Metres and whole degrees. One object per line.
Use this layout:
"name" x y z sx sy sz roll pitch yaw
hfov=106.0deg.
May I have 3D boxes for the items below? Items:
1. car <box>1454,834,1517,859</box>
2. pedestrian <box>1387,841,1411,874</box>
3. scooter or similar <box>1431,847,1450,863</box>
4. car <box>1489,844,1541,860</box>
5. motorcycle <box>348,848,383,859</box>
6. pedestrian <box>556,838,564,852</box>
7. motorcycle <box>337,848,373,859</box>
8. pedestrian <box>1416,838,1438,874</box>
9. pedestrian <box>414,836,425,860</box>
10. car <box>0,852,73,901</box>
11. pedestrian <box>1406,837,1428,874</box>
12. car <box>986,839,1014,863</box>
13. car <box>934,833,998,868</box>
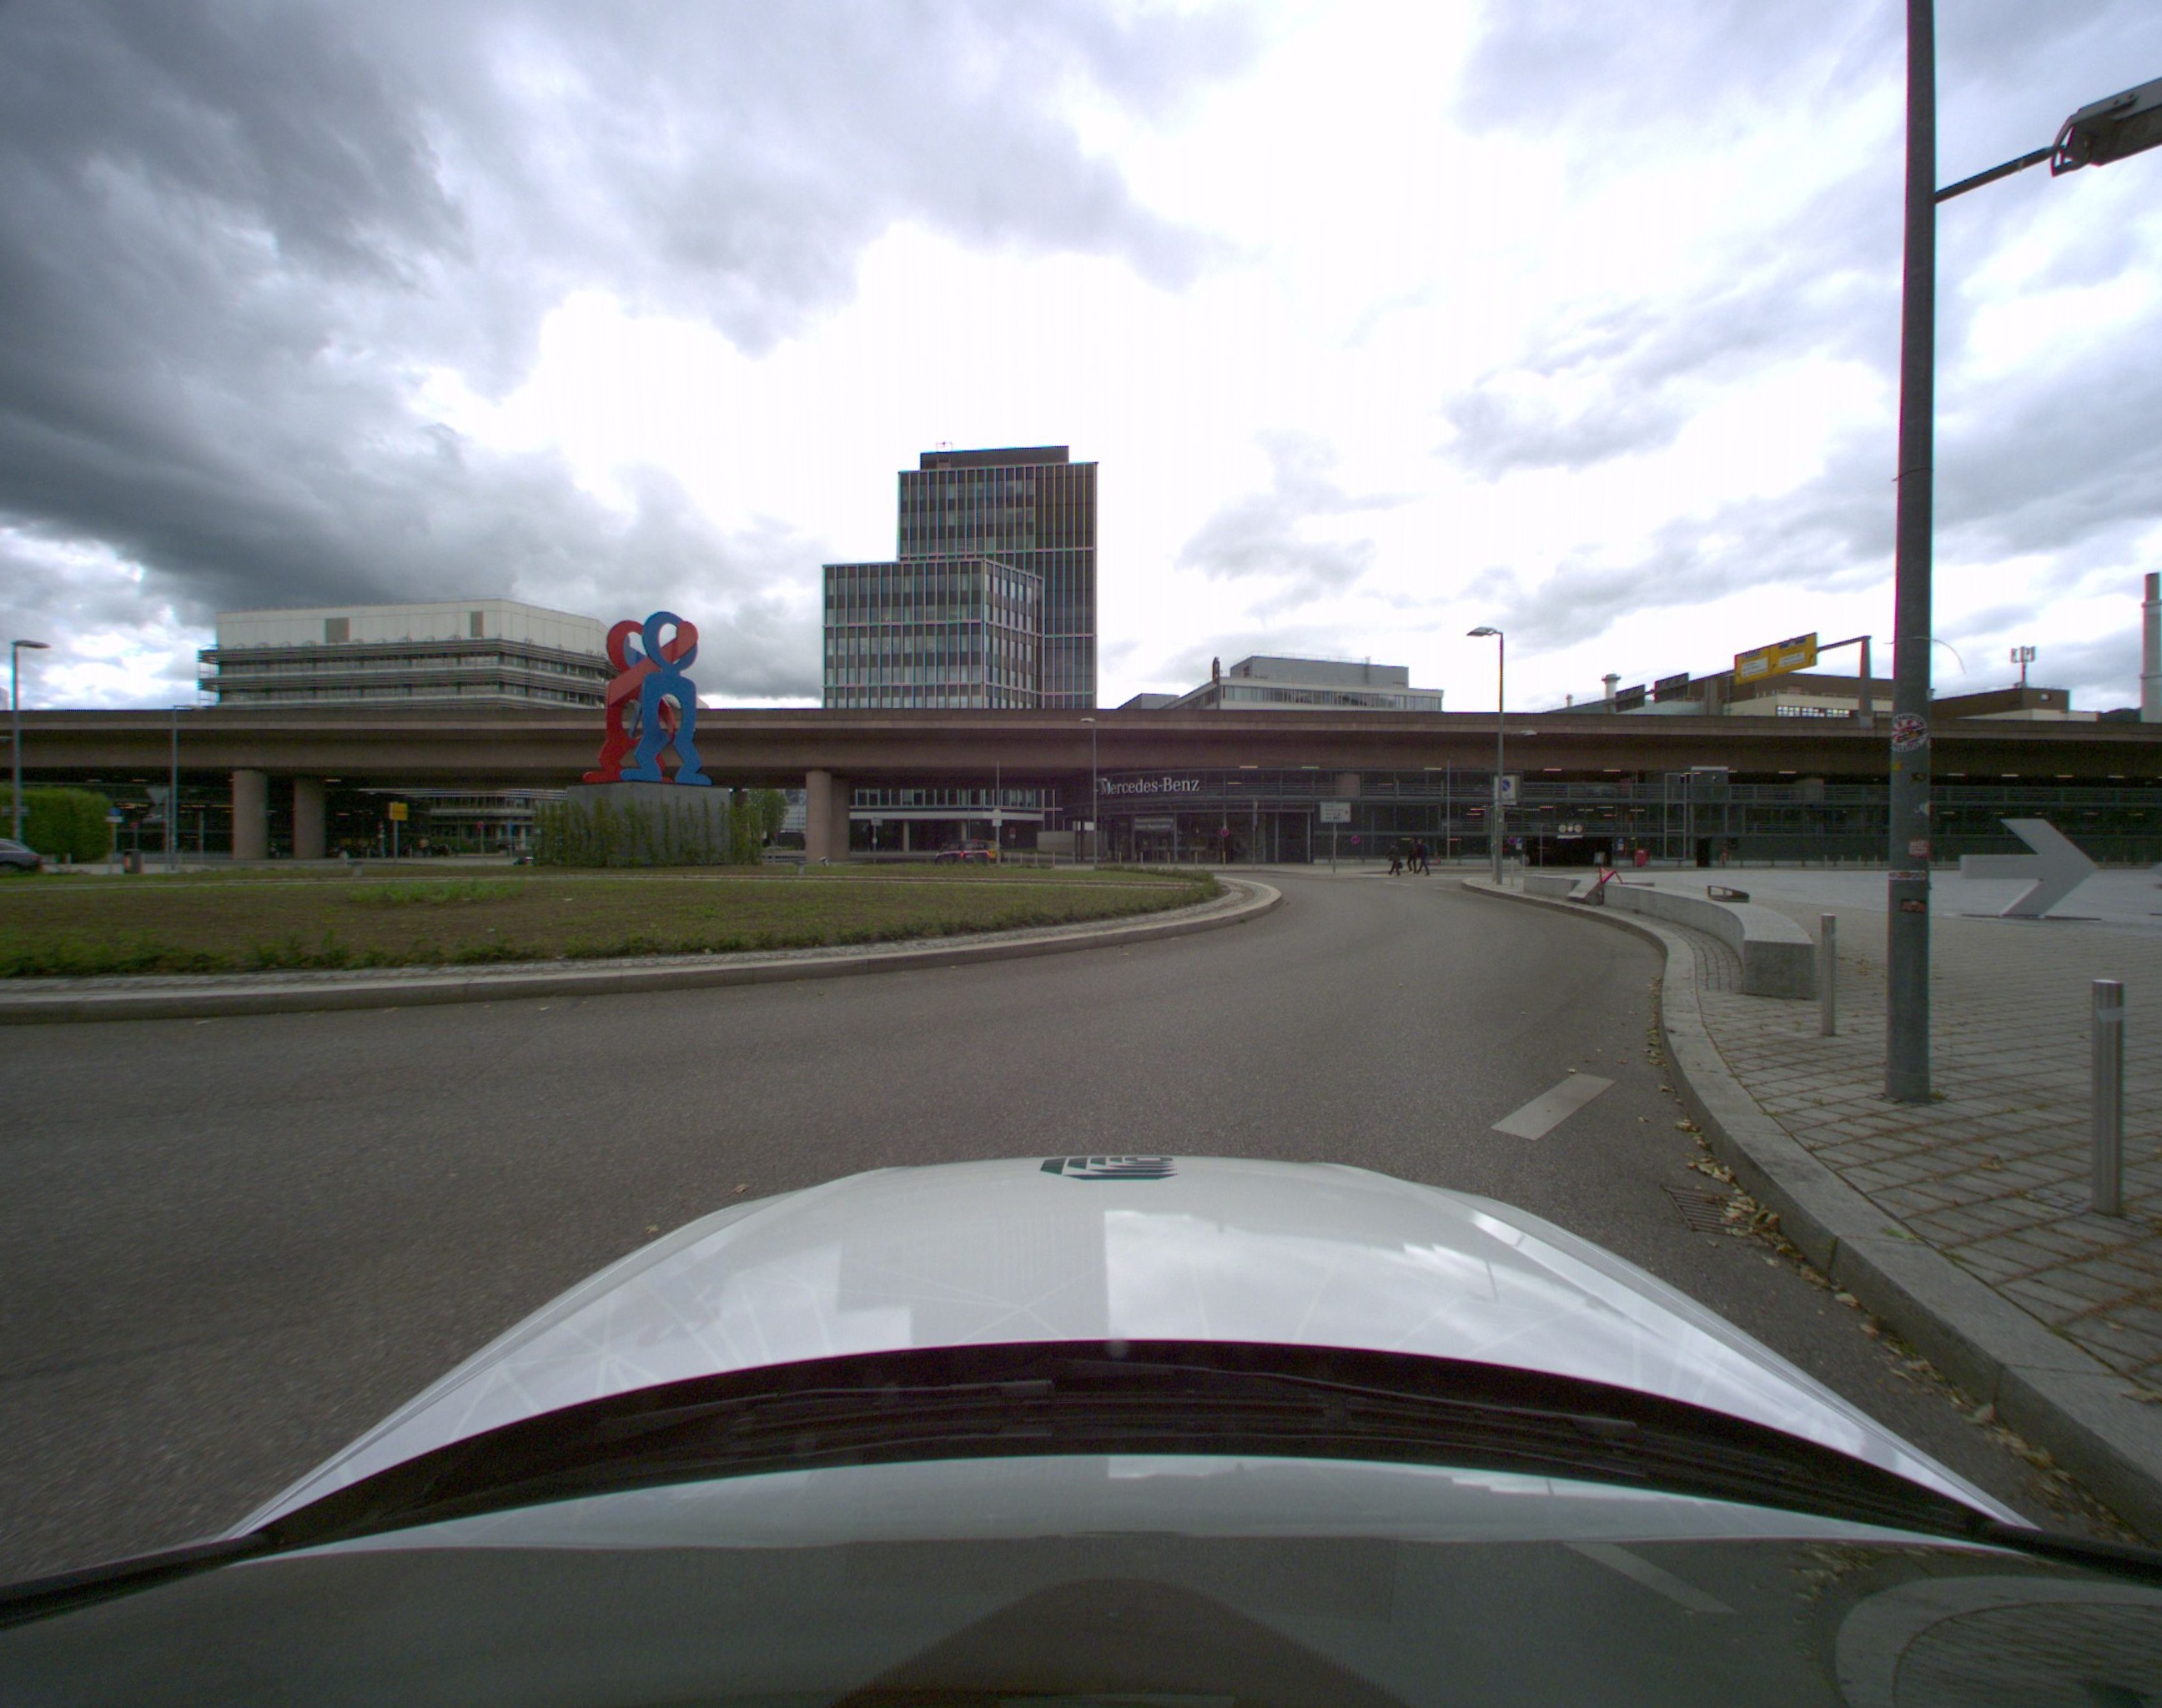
"car" 31.585 -0.586 63.676 3.975 1.903 1.999 0 0 -1
"pedestrian" 15.101 0.169 38.652 0.830 1.570 0.688 1 0 -8
"scooter or similar" 26.771 0.072 60.676 1.227 1.194 0.355 1 0 -3
"car" 42.257 -0.221 79.343 3.975 1.574 1.999 0 1 -1
"motorcycle" -71.570 -0.068 81.503 2.641 1.112 1.040 1 0 3
"pedestrian" -76.228 -1.340 119.128 0.778 2.013 0.667 0 0 -17
"motorcycle" -71.532 -0.065 80.207 2.641 1.112 1.040 1 0 3
"pedestrian" 16.828 0.080 39.624 0.826 1.740 0.691 1 0 6
"pedestrian" -55.341 -0.513 68.112 0.591 2.013 0.593 1 0 -29
"car" -33.831 0.675 23.941 1.983 1.460 4.944 1 0 7
"pedestrian" 16.098 0.067 39.013 0.826 1.740 0.692 1 0 10
"car" -7.206 -0.274 72.648 1.987 2.013 4.000 1 0 0
"car" -7.119 -0.192 49.868 2.290 2.013 4.738 1 0 -30
